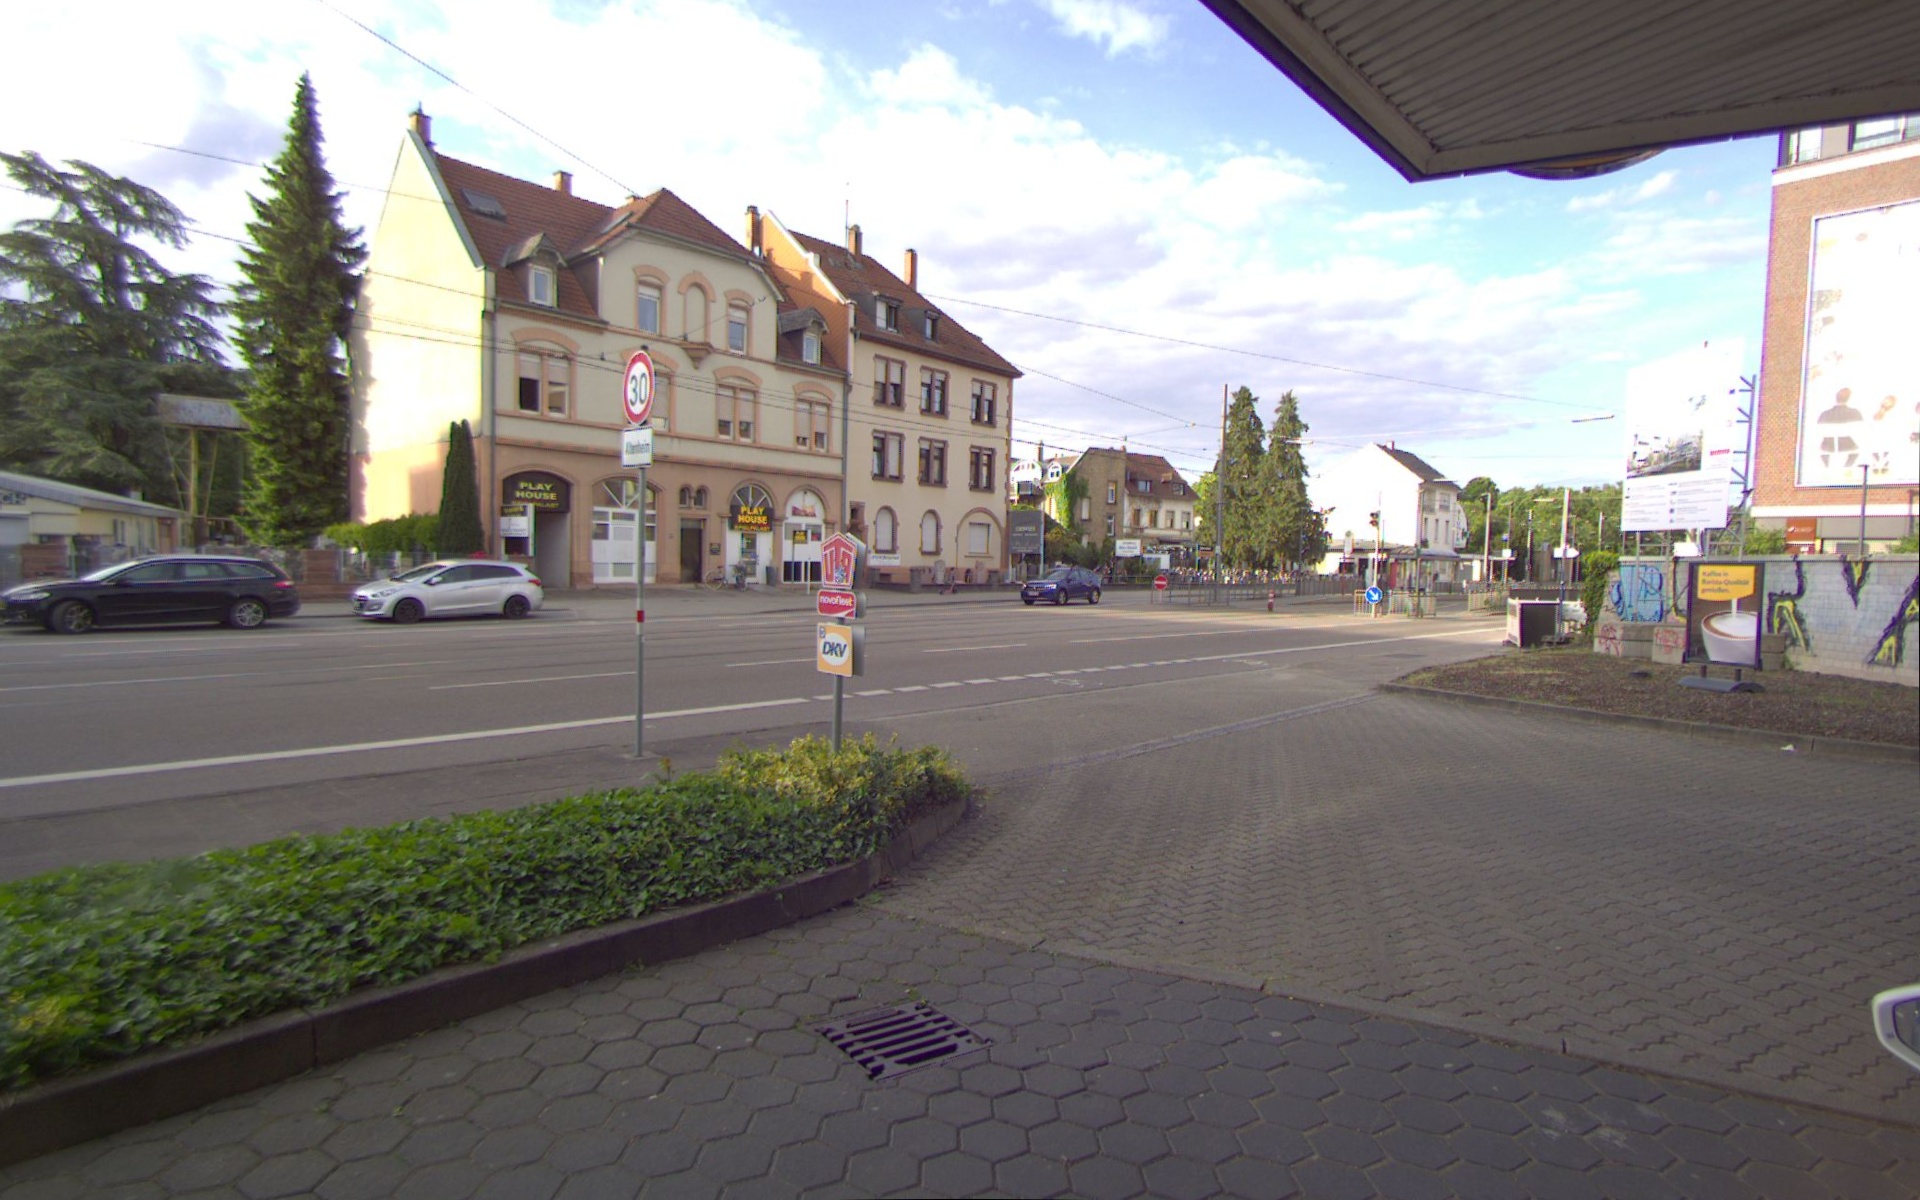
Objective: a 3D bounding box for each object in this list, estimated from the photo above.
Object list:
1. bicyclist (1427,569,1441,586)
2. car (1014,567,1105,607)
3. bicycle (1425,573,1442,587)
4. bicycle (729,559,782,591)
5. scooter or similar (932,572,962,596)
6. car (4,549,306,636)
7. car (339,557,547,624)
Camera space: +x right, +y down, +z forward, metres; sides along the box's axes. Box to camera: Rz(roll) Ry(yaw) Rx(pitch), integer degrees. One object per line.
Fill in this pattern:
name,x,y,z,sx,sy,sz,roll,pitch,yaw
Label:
bicyclist,42.773,-2.044,90.719,0.915,1.428,0.742,-1,7,-44
car,4.100,-0.556,41.008,1.834,1.489,4.122,3,3,36
bicycle,42.726,-1.777,90.707,0.742,1.219,1.809,8,6,44
bicycle,-8.256,-1.004,40.612,0.741,1.219,2.011,8,5,41
scooter or similar,-0.574,-0.717,45.078,0.437,1.006,1.460,6,5,41
car,-16.496,-0.175,20.803,1.827,1.542,4.642,5,4,40
car,-12.938,-0.252,25.341,1.718,1.502,4.357,3,2,41
